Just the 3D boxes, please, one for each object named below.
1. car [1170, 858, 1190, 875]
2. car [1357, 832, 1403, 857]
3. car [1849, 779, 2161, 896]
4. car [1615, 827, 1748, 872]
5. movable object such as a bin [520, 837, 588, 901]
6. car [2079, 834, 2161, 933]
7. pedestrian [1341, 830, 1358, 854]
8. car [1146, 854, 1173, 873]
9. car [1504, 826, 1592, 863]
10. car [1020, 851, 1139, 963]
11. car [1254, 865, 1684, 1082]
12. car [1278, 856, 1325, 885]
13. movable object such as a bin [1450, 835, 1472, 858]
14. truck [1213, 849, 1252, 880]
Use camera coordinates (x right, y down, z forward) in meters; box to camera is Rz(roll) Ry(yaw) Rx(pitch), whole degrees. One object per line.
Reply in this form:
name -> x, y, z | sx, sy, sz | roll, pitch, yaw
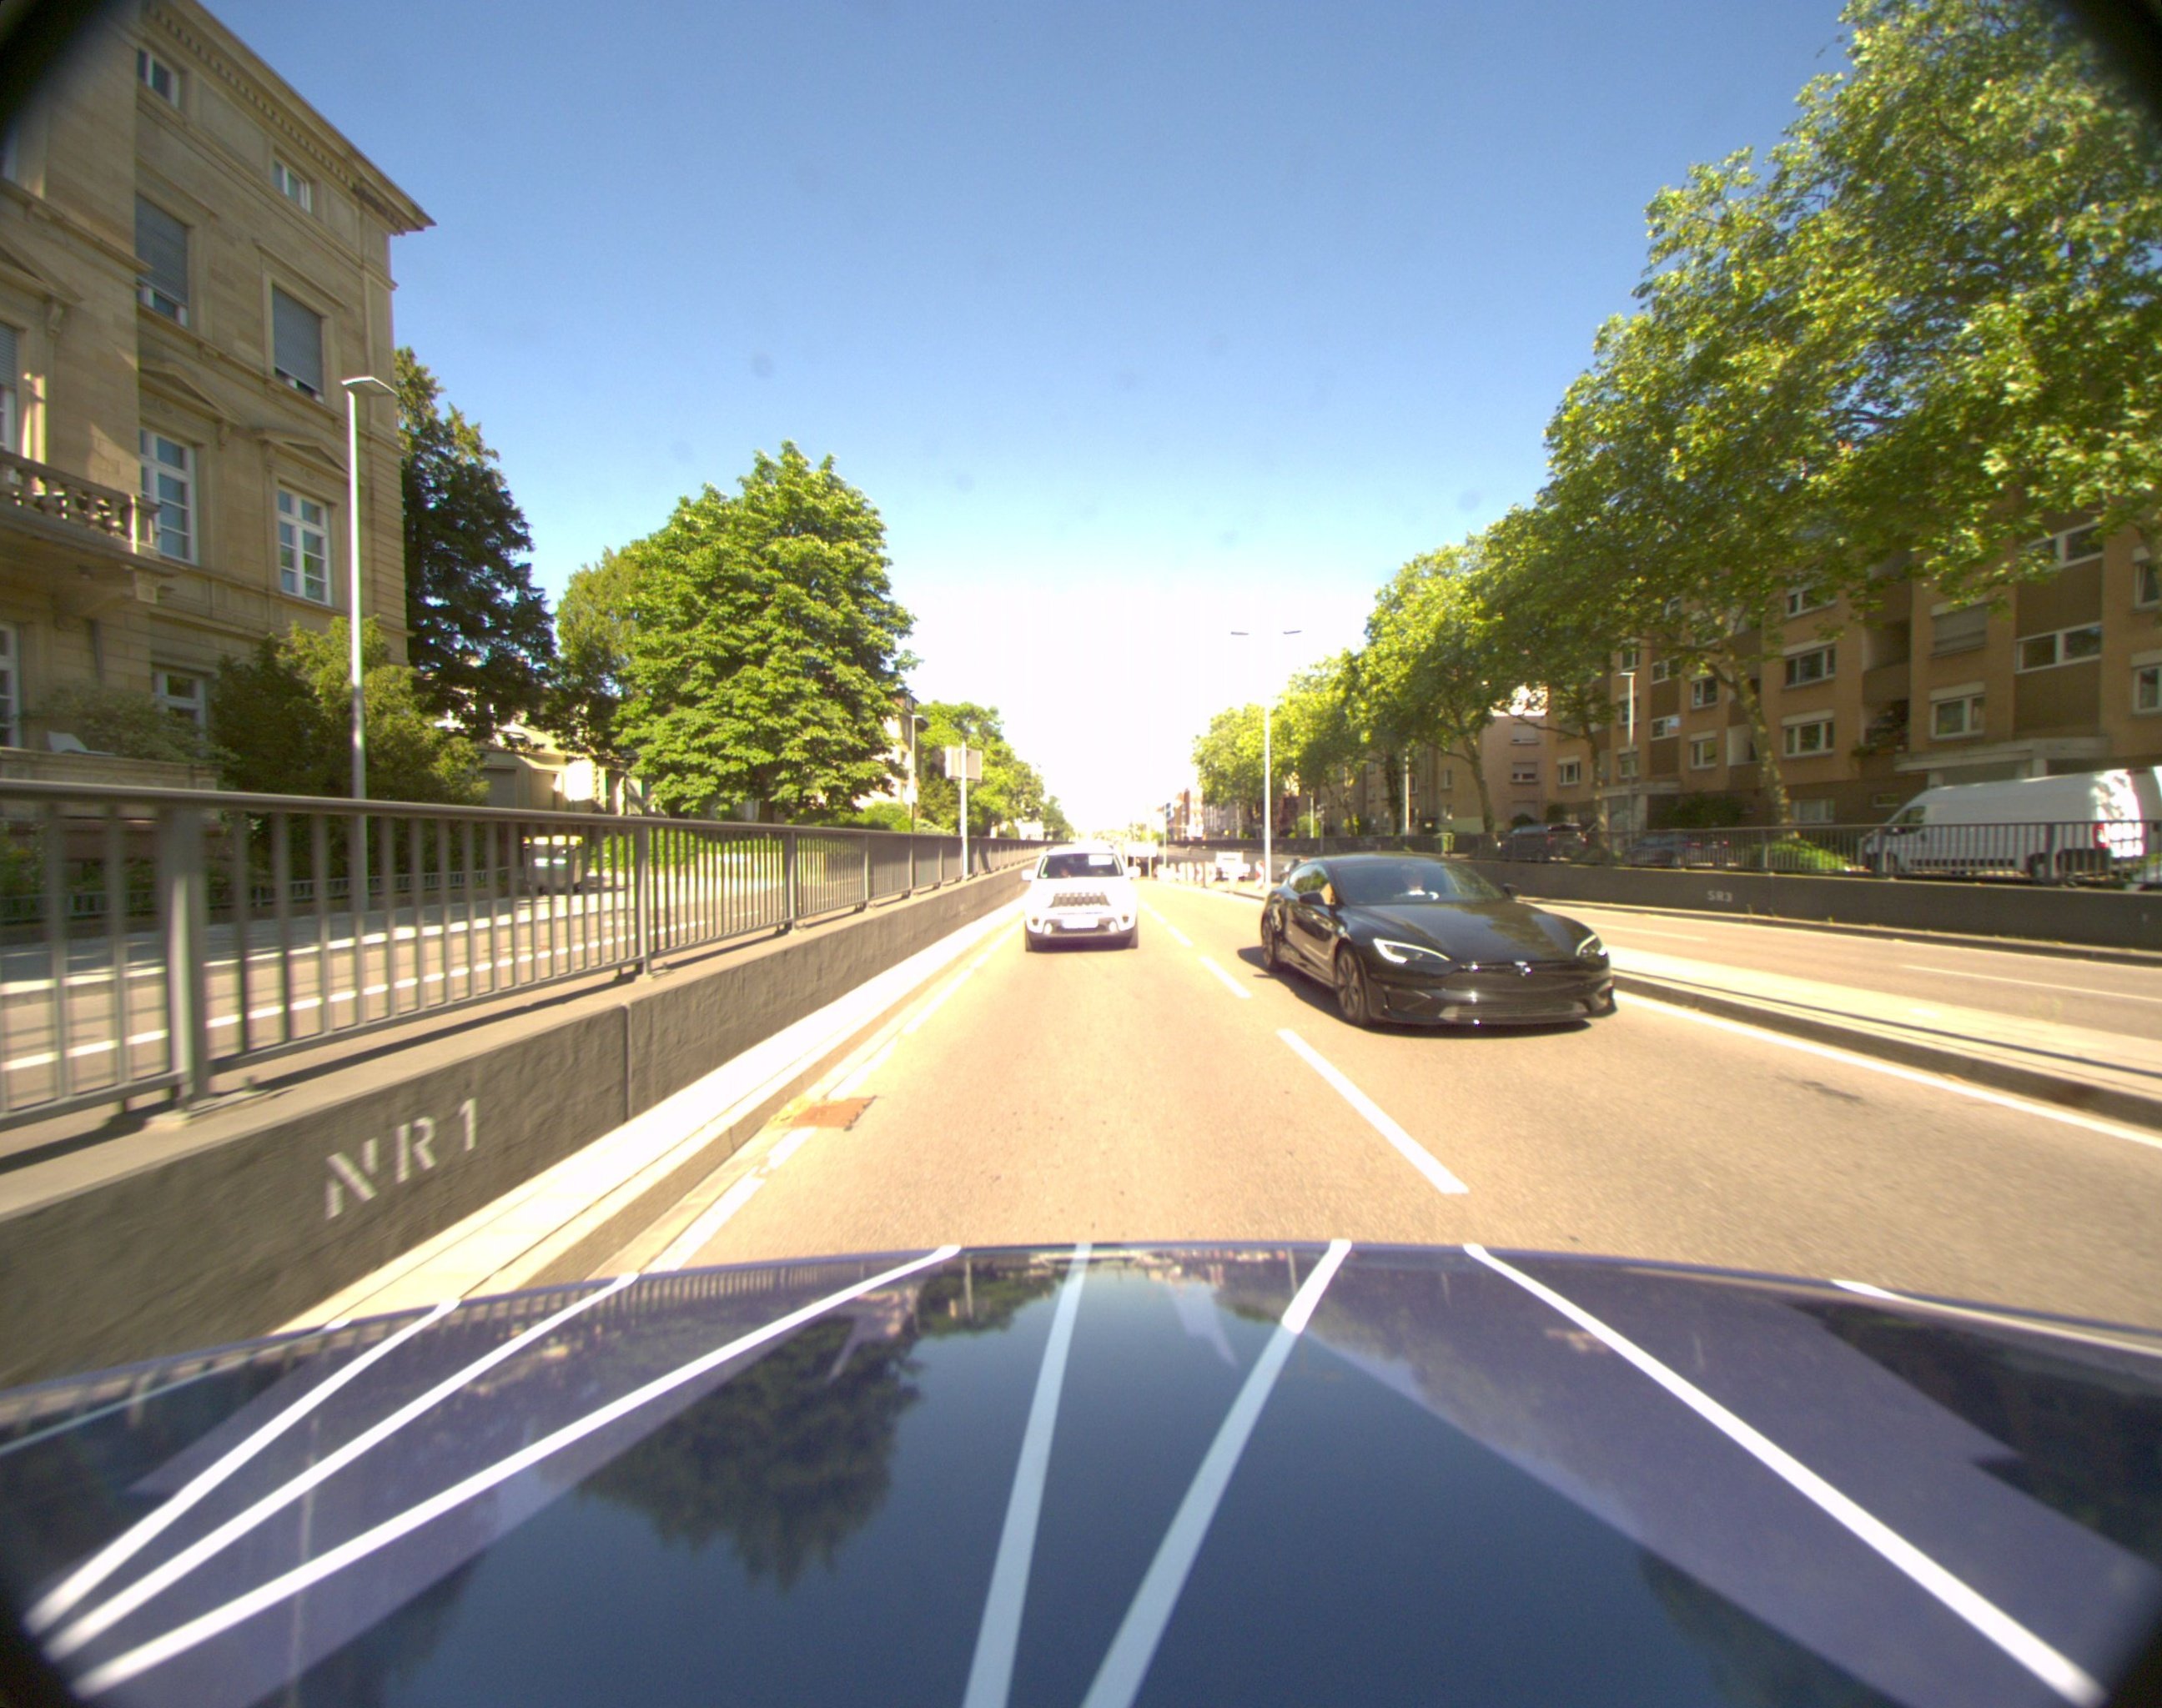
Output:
car -> 13.045, 1.633, 100.337 | 1.999, 2.002, 3.999 | -1, 1, -1
car -> 23.381, -0.736, 59.625 | 1.998, 1.839, 4.000 | 1, 0, 1
car -> 22.640, -0.331, 18.662 | 2.250, 2.431, 5.288 | 1, 0, 2
car -> 22.894, -0.141, 29.176 | 1.998, 1.571, 4.001 | 1, 0, 2
movable object such as a bin -> -11.955, 0.337, 17.276 | 0.975, 1.390, 1.285 | 1, 0, -22
car -> 17.453, 0.456, 10.834 | 1.632, 1.478, 3.689 | -2, 1, 1
pedestrian -> 20.856, -0.929, 59.104 | 0.901, 1.789, 1.019 | 1, 0, -4
car -> 9.460, 1.115, 91.835 | 2.450, 2.073, 5.637 | -1, 0, -2
car -> 22.962, -0.447, 37.559 | 1.998, 1.742, 4.001 | 0, 0, 2
car -> -0.003, 0.792, 13.146 | 1.744, 1.648, 3.690 | -1, 0, 1
car -> 3.181, 0.854, 7.516 | 1.930, 1.403, 4.626 | -1, 0, 1
car -> 12.299, 0.889, 42.544 | 1.662, 1.465, 3.297 | -1, 1, 1
movable object such as a bin -> 26.782, -0.519, 53.610 | 0.885, 1.632, 1.253 | 1, 0, 1
truck -> 12.635, 0.857, 63.717 | 2.285, 2.380, 5.368 | 1, 0, 1
